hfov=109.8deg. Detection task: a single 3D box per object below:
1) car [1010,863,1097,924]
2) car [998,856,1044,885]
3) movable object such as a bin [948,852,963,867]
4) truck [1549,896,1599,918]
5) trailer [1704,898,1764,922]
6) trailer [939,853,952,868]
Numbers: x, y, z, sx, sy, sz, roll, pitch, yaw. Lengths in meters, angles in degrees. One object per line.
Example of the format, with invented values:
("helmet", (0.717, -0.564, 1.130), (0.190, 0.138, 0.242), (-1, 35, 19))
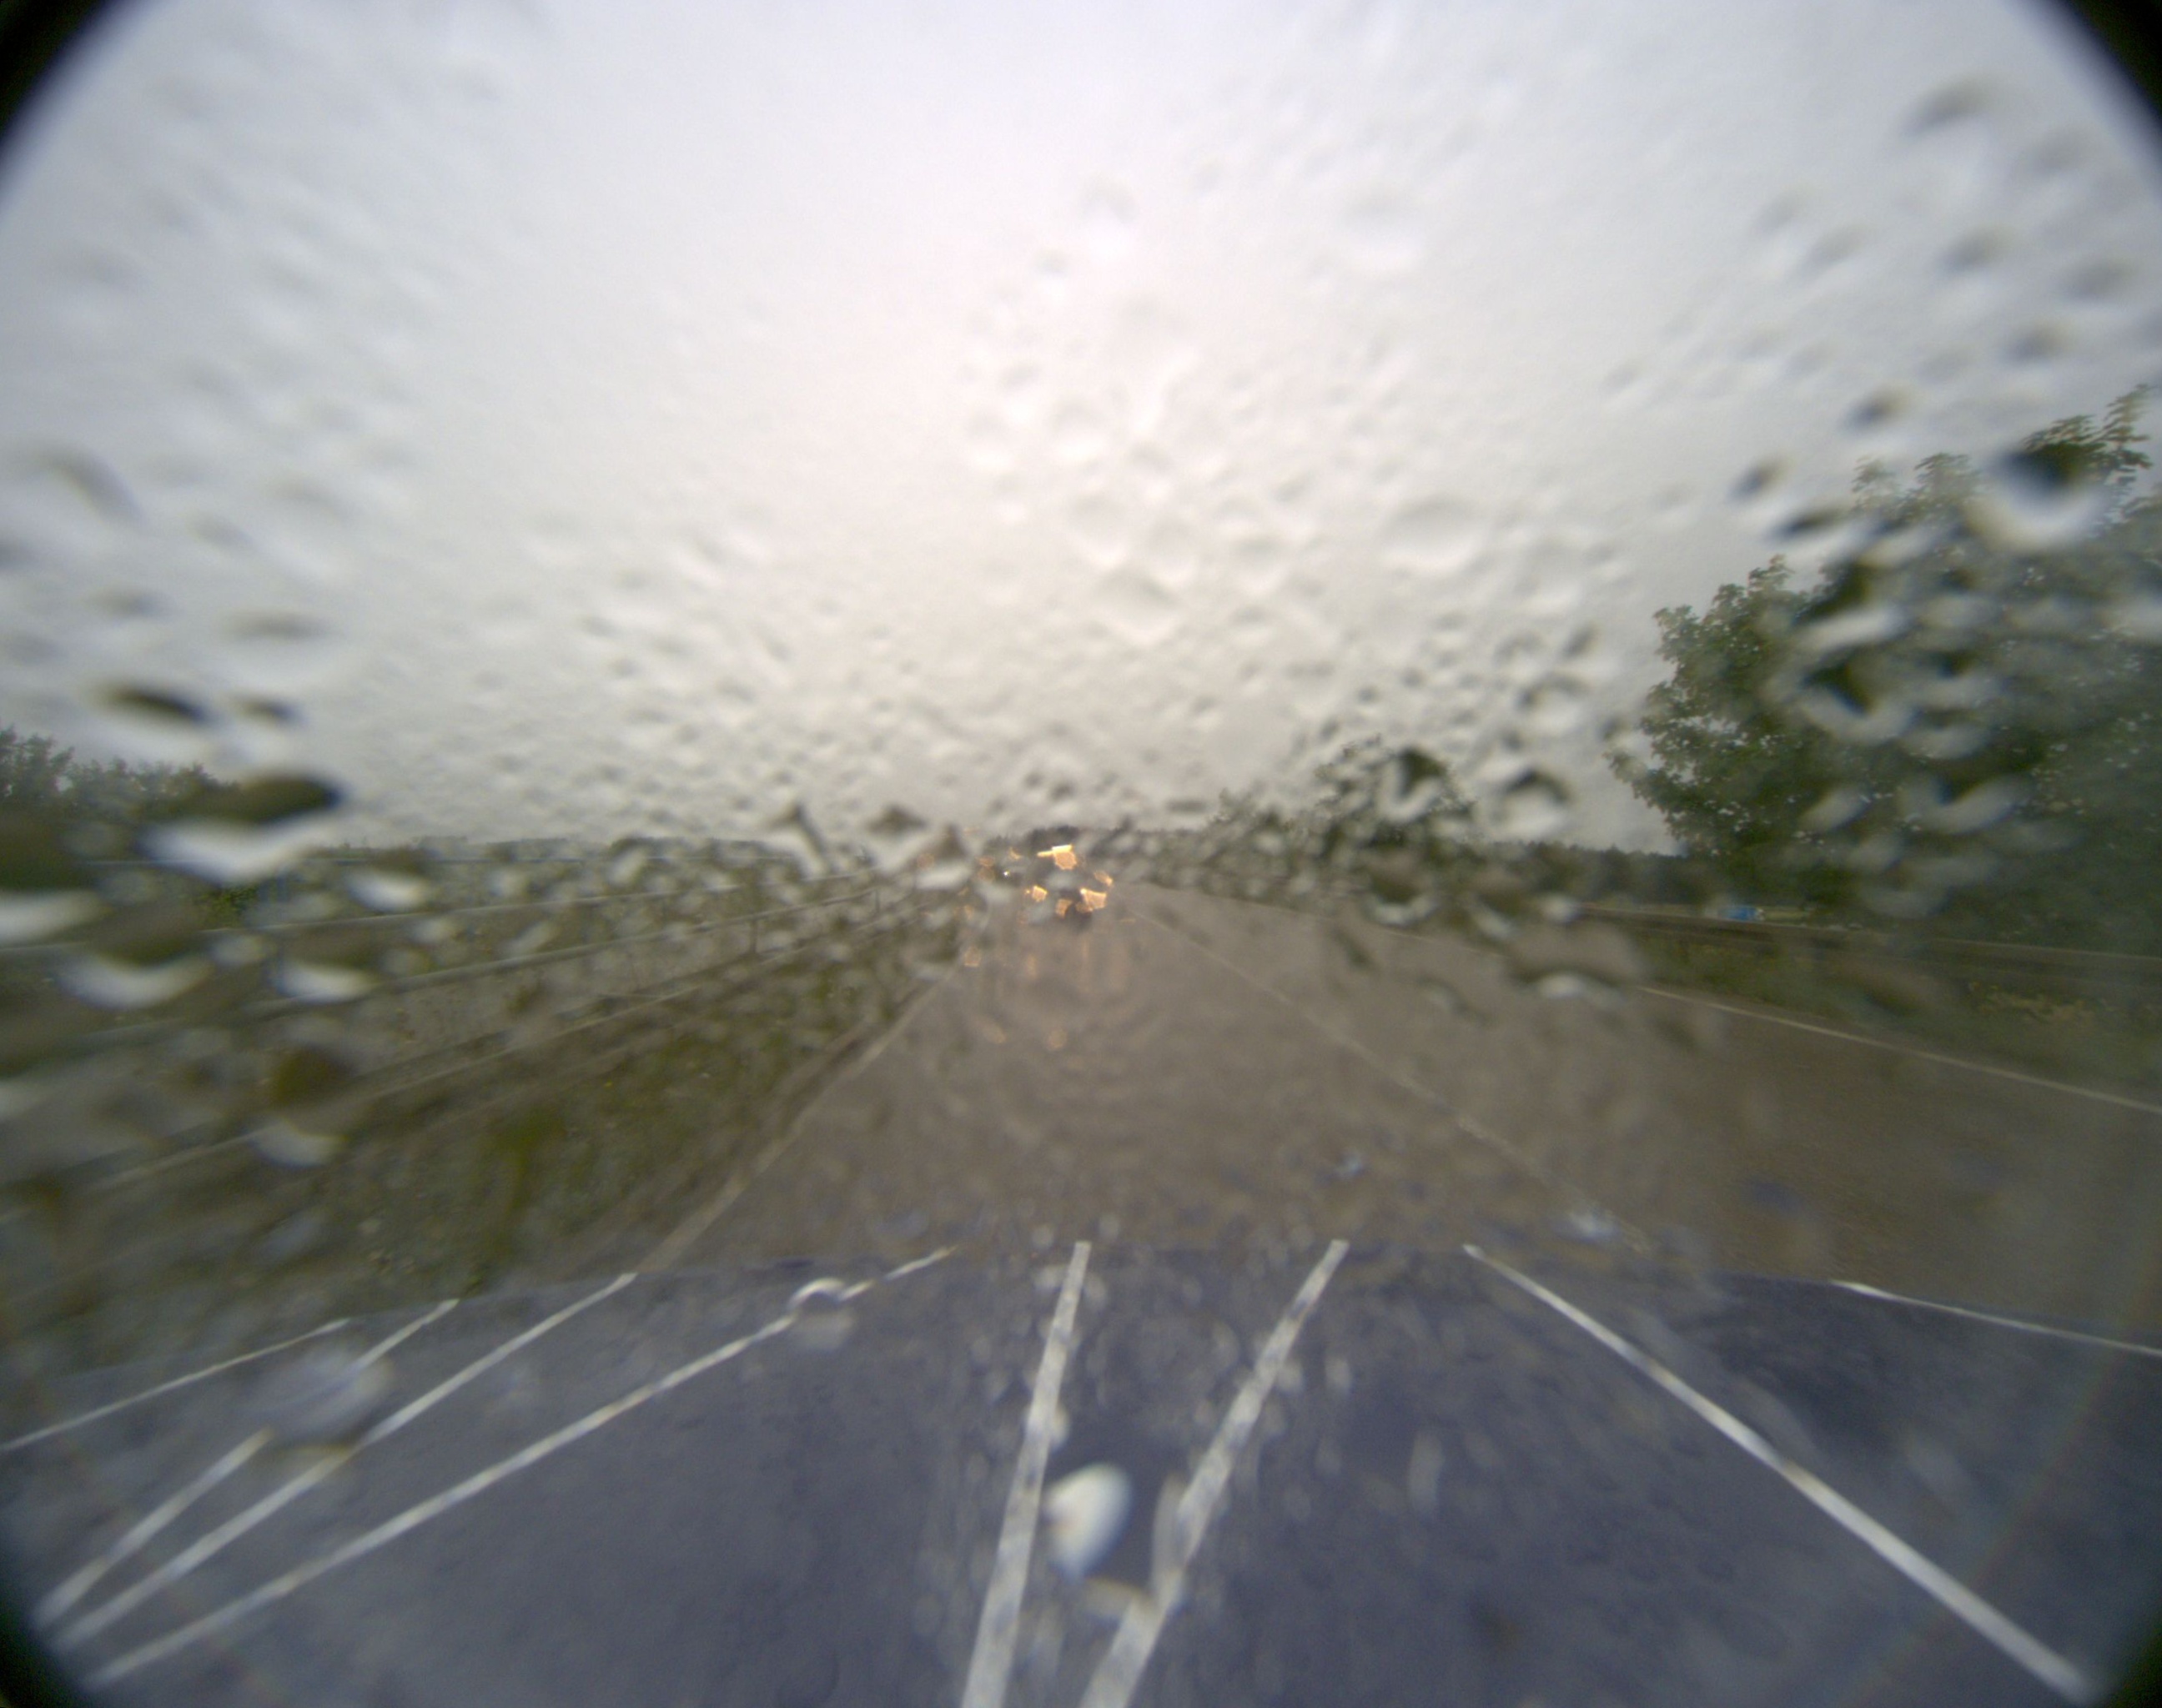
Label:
("car", (-0.822, 0.939, 19.721), (1.820, 1.382, 4.066), (-1, 0, -8))
("car", (-3.158, 0.817, 39.272), (1.821, 1.382, 4.064), (-1, 0, -12))
("movable object such as a bin", (-28.953, 1.216, 175.320), (2.759, 3.425, 4.637), (2, 0, -15))
("truck", (96.568, 10.337, 148.835), (10.659, 3.846, 2.780), (3, 0, -24))
("trailer", (123.237, 10.563, 143.341), (14.389, 4.193, 2.876), (1, -1, -25))
("trailer", (-38.059, 1.826, 213.607), (2.828, 3.946, 13.721), (1, -1, -13))
